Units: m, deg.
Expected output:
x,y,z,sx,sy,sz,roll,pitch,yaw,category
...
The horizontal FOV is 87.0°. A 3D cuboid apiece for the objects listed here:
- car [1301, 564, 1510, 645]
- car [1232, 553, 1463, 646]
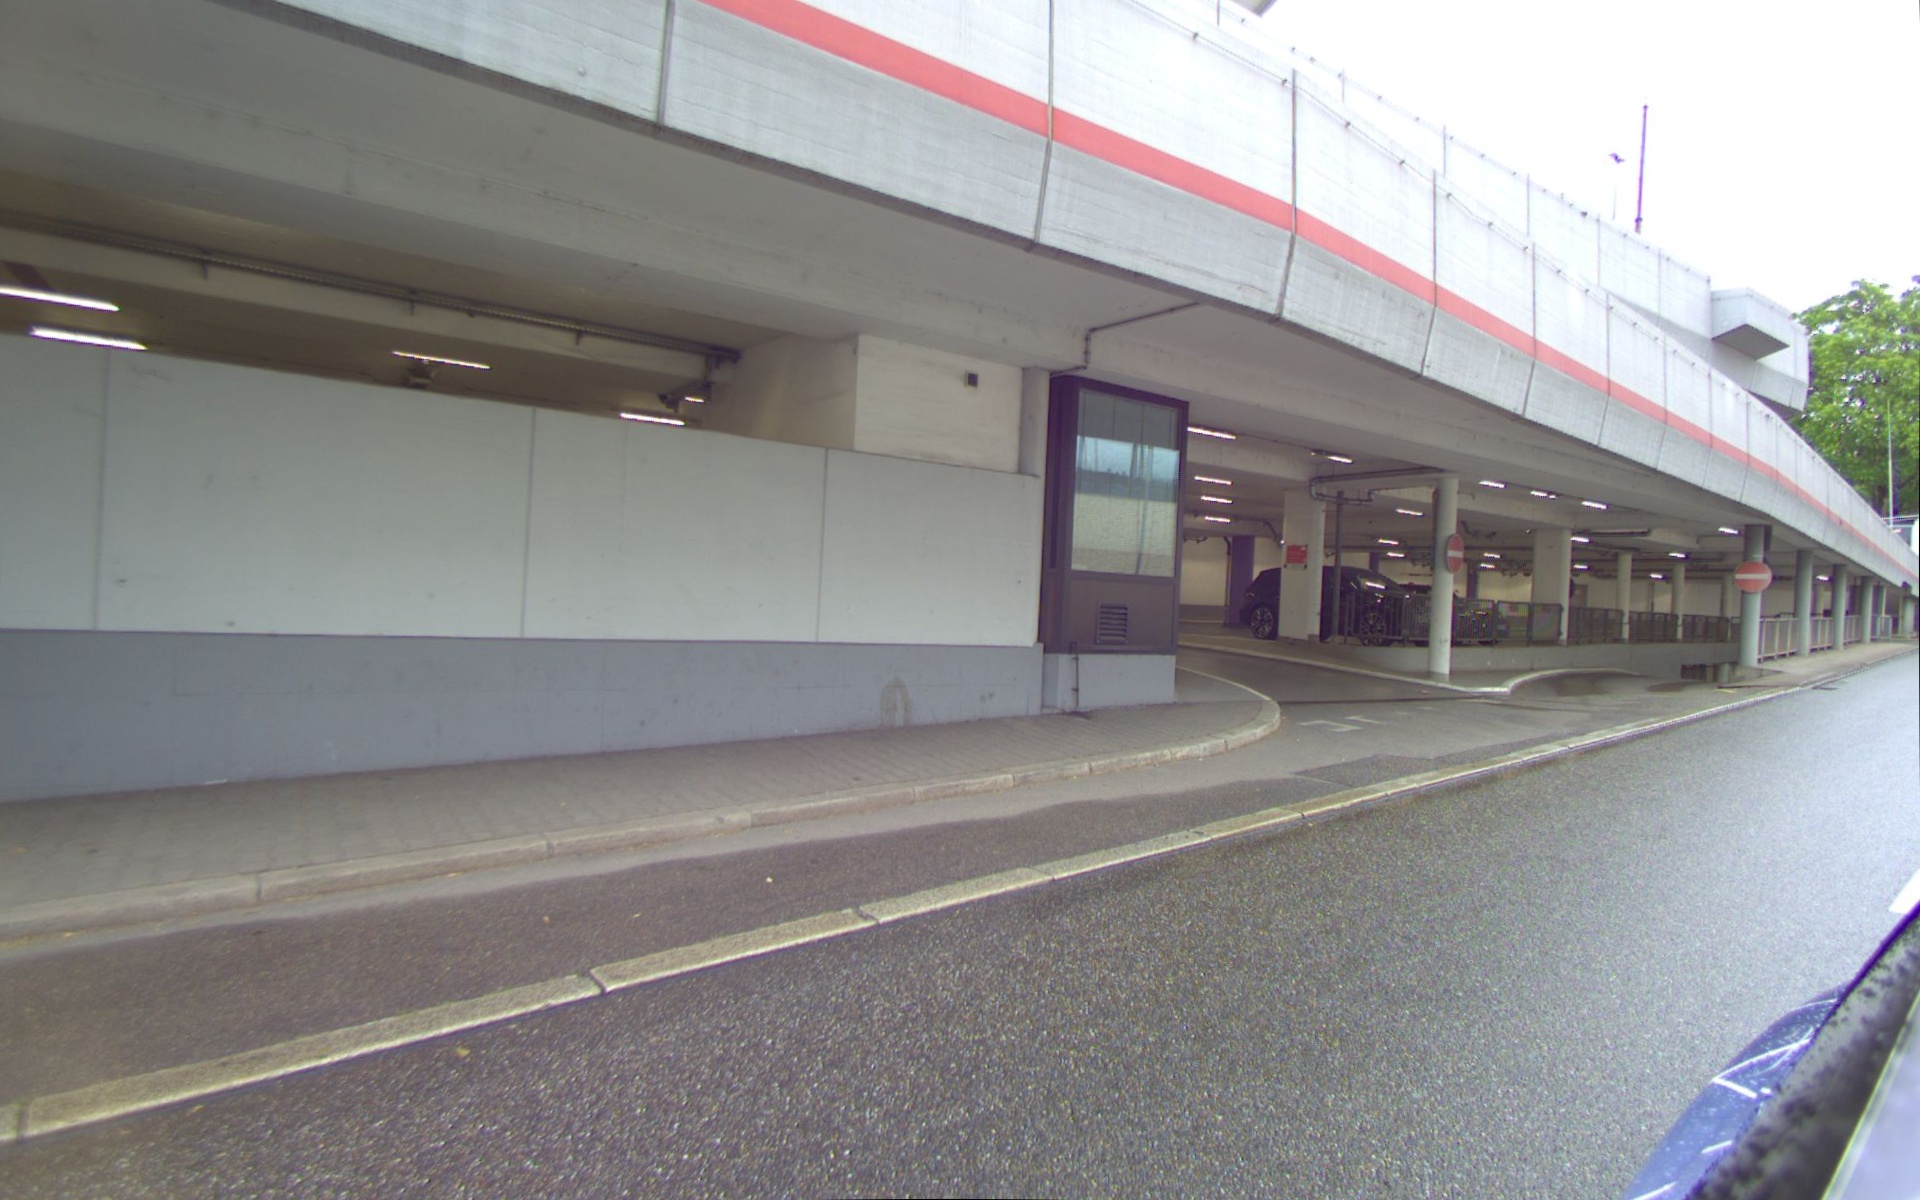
x,y,z,sx,sy,sz,roll,pitch,yaw,category
10.770,0.082,24.771,1.960,1.682,4.261,5,-2,-31,car
8.172,-0.025,21.730,1.960,1.682,4.261,5,-2,-31,car
